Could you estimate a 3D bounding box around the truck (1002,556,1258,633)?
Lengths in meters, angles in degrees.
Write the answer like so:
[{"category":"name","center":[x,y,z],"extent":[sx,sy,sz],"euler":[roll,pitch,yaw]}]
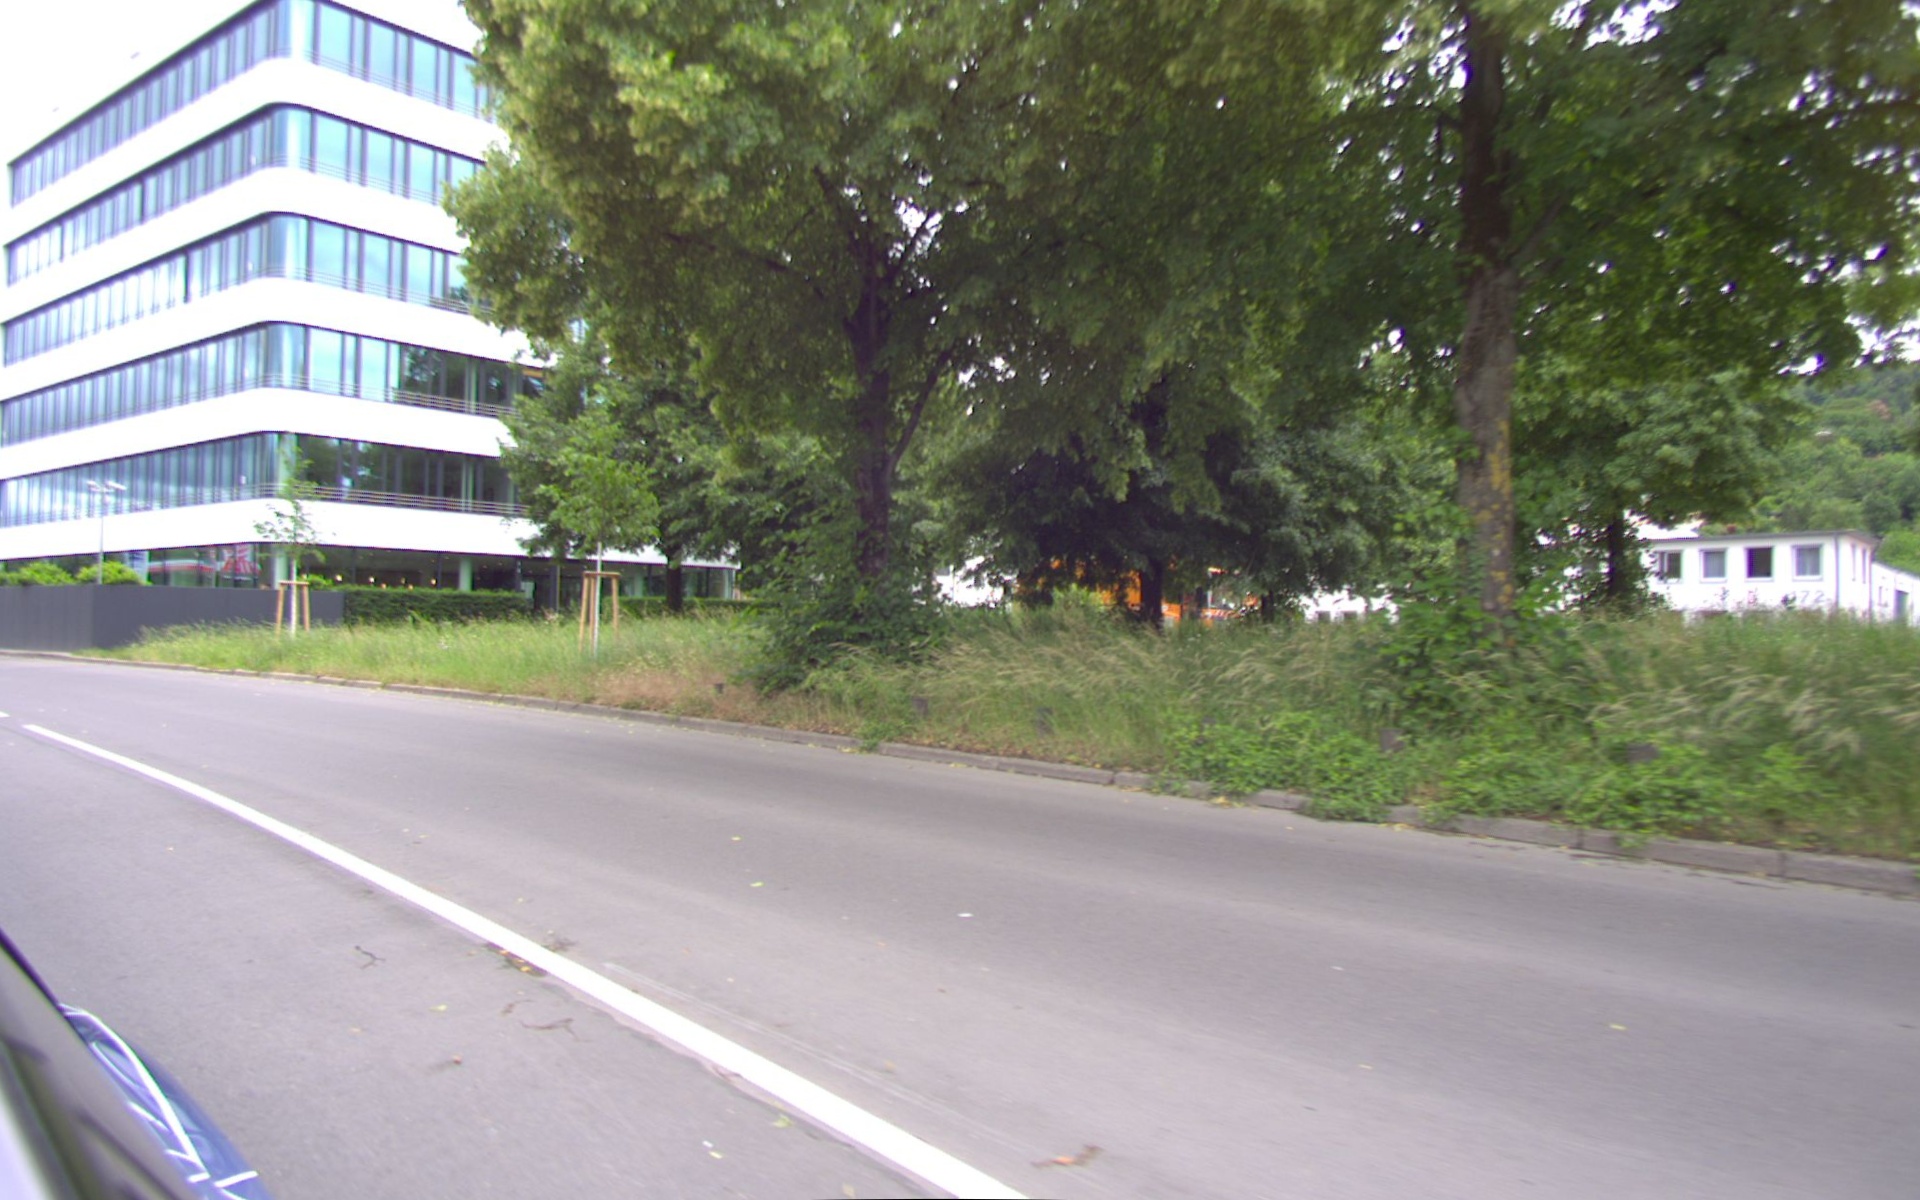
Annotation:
[{"category":"truck","center":[6.173,-0.027,39.031],"extent":[2.936,2.541,10.264],"euler":[2,-3,-40]}]
